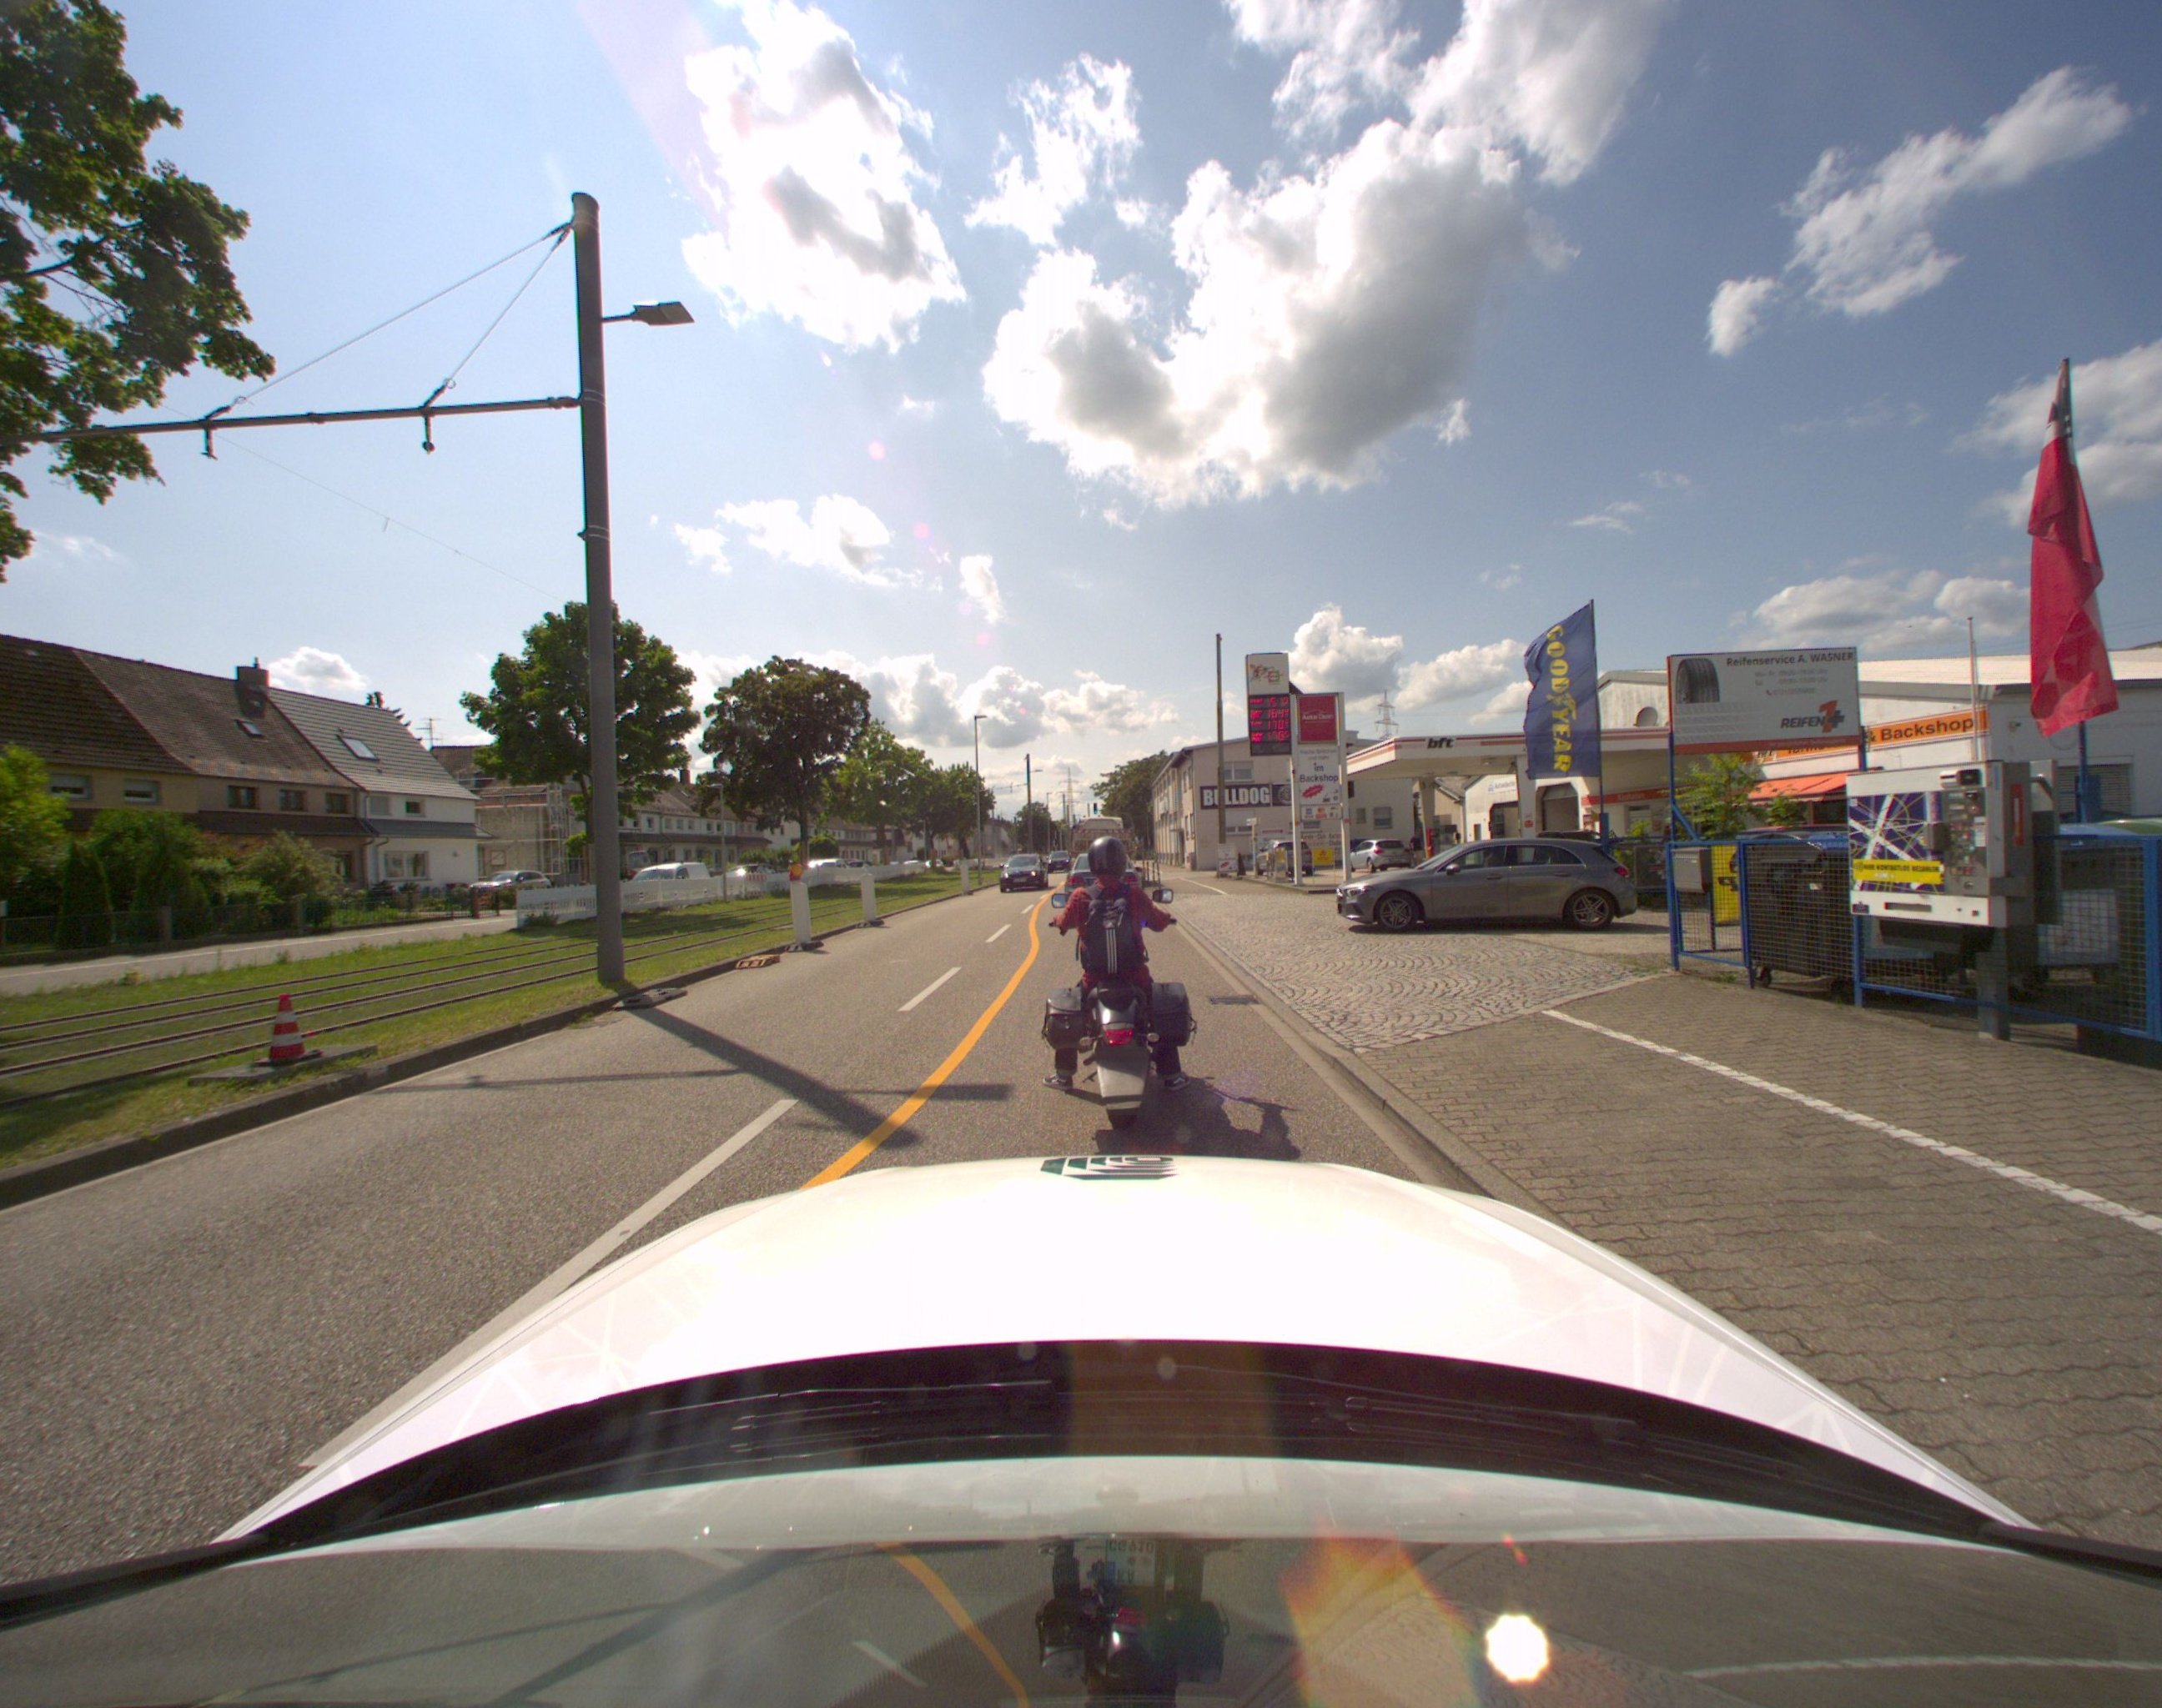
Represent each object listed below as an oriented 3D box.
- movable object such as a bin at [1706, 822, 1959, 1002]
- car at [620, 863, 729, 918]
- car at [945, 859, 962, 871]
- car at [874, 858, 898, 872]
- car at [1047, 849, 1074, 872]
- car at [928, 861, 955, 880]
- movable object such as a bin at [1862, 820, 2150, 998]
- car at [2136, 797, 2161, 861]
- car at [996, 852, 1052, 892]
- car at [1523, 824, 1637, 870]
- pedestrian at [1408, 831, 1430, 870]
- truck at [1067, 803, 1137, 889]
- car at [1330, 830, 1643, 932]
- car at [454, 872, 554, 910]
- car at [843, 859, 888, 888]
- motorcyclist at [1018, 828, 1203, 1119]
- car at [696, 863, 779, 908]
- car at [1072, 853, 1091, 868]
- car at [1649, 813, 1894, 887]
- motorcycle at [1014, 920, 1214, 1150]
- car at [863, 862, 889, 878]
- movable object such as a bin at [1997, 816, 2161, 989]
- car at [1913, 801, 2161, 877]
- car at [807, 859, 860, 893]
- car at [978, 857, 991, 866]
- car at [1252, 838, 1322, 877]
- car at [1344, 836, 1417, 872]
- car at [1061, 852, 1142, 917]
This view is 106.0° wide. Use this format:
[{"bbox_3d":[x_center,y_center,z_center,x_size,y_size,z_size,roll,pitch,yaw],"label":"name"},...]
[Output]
[{"bbox_3d":[6.693,0.477,7.357,1.104,1.436,1.244,-2,0,1],"label":"movable object such as a bin"},{"bbox_3d":[-15.416,1.313,31.153,1.769,1.821,4.366,-2,0,2],"label":"car"},{"bbox_3d":[-19.633,1.632,125.915,1.769,1.722,4.130,-2,0,2],"label":"car"},{"bbox_3d":[-25.159,1.400,105.201,1.769,1.722,4.130,-2,0,2],"label":"car"},{"bbox_3d":[-1.608,0.491,64.697,1.816,1.602,4.326,-3,0,2],"label":"car"},{"bbox_3d":[-13.726,1.630,80.452,1.769,1.722,4.130,-2,0,2],"label":"car"},{"bbox_3d":[8.087,0.443,7.217,1.104,1.396,1.244,-2,0,1],"label":"movable object such as a bin"},{"bbox_3d":[26.529,-0.655,18.001,4.180,1.463,1.587,-2,0,2],"label":"car"},{"bbox_3d":[-2.306,0.692,33.814,1.816,1.452,4.326,-3,0,2],"label":"car"},{"bbox_3d":[18.123,-0.249,29.783,1.800,1.503,3.833,-2,0,0],"label":"car"},{"bbox_3d":[14.655,-0.134,35.317,0.701,1.656,0.551,-2,0,37],"label":"pedestrian"},{"bbox_3d":[0.965,-0.332,36.196,2.628,3.296,8.059,-2,0,2],"label":"truck"},{"bbox_3d":[6.298,0.433,13.163,4.242,1.415,1.680,-2,0,14],"label":"car"},{"bbox_3d":[-27.434,1.725,38.892,1.769,1.519,4.002,-2,0,2],"label":"car"},{"bbox_3d":[-14.802,1.334,56.036,1.769,1.805,4.130,-2,0,2],"label":"car"},{"bbox_3d":[0.184,0.674,5.139,0.975,1.602,1.088,-2,0,1],"label":"motorcyclist"},{"bbox_3d":[-15.405,1.371,36.797,1.769,1.774,4.230,-2,0,2],"label":"car"},{"bbox_3d":[0.045,0.709,88.580,1.816,1.452,4.326,-3,0,2],"label":"car"},{"bbox_3d":[15.777,-0.090,18.756,4.180,1.463,1.587,-2,0,2],"label":"car"},{"bbox_3d":[0.208,1.023,5.443,0.975,0.897,2.654,-2,0,2],"label":"motorcycle"},{"bbox_3d":[-24.387,1.837,97.040,1.769,1.722,4.130,-2,0,2],"label":"car"},{"bbox_3d":[9.490,0.373,7.129,1.397,1.396,1.338,-2,0,1],"label":"movable object such as a bin"},{"bbox_3d":[21.526,-0.342,18.164,4.180,1.463,1.587,-2,0,2],"label":"car"},{"bbox_3d":[-15.061,1.326,49.859,1.769,1.867,4.130,-2,0,2],"label":"car"},{"bbox_3d":[-19.095,1.528,161.352,1.769,1.722,4.252,-2,0,2],"label":"car"},{"bbox_3d":[9.119,0.149,36.451,1.665,1.562,4.235,-2,0,-6],"label":"car"},{"bbox_3d":[13.479,-0.010,36.918,1.800,1.503,3.832,-2,0,-1],"label":"car"},{"bbox_3d":[0.525,0.686,20.348,1.816,1.452,4.002,0,0,2],"label":"car"}]
